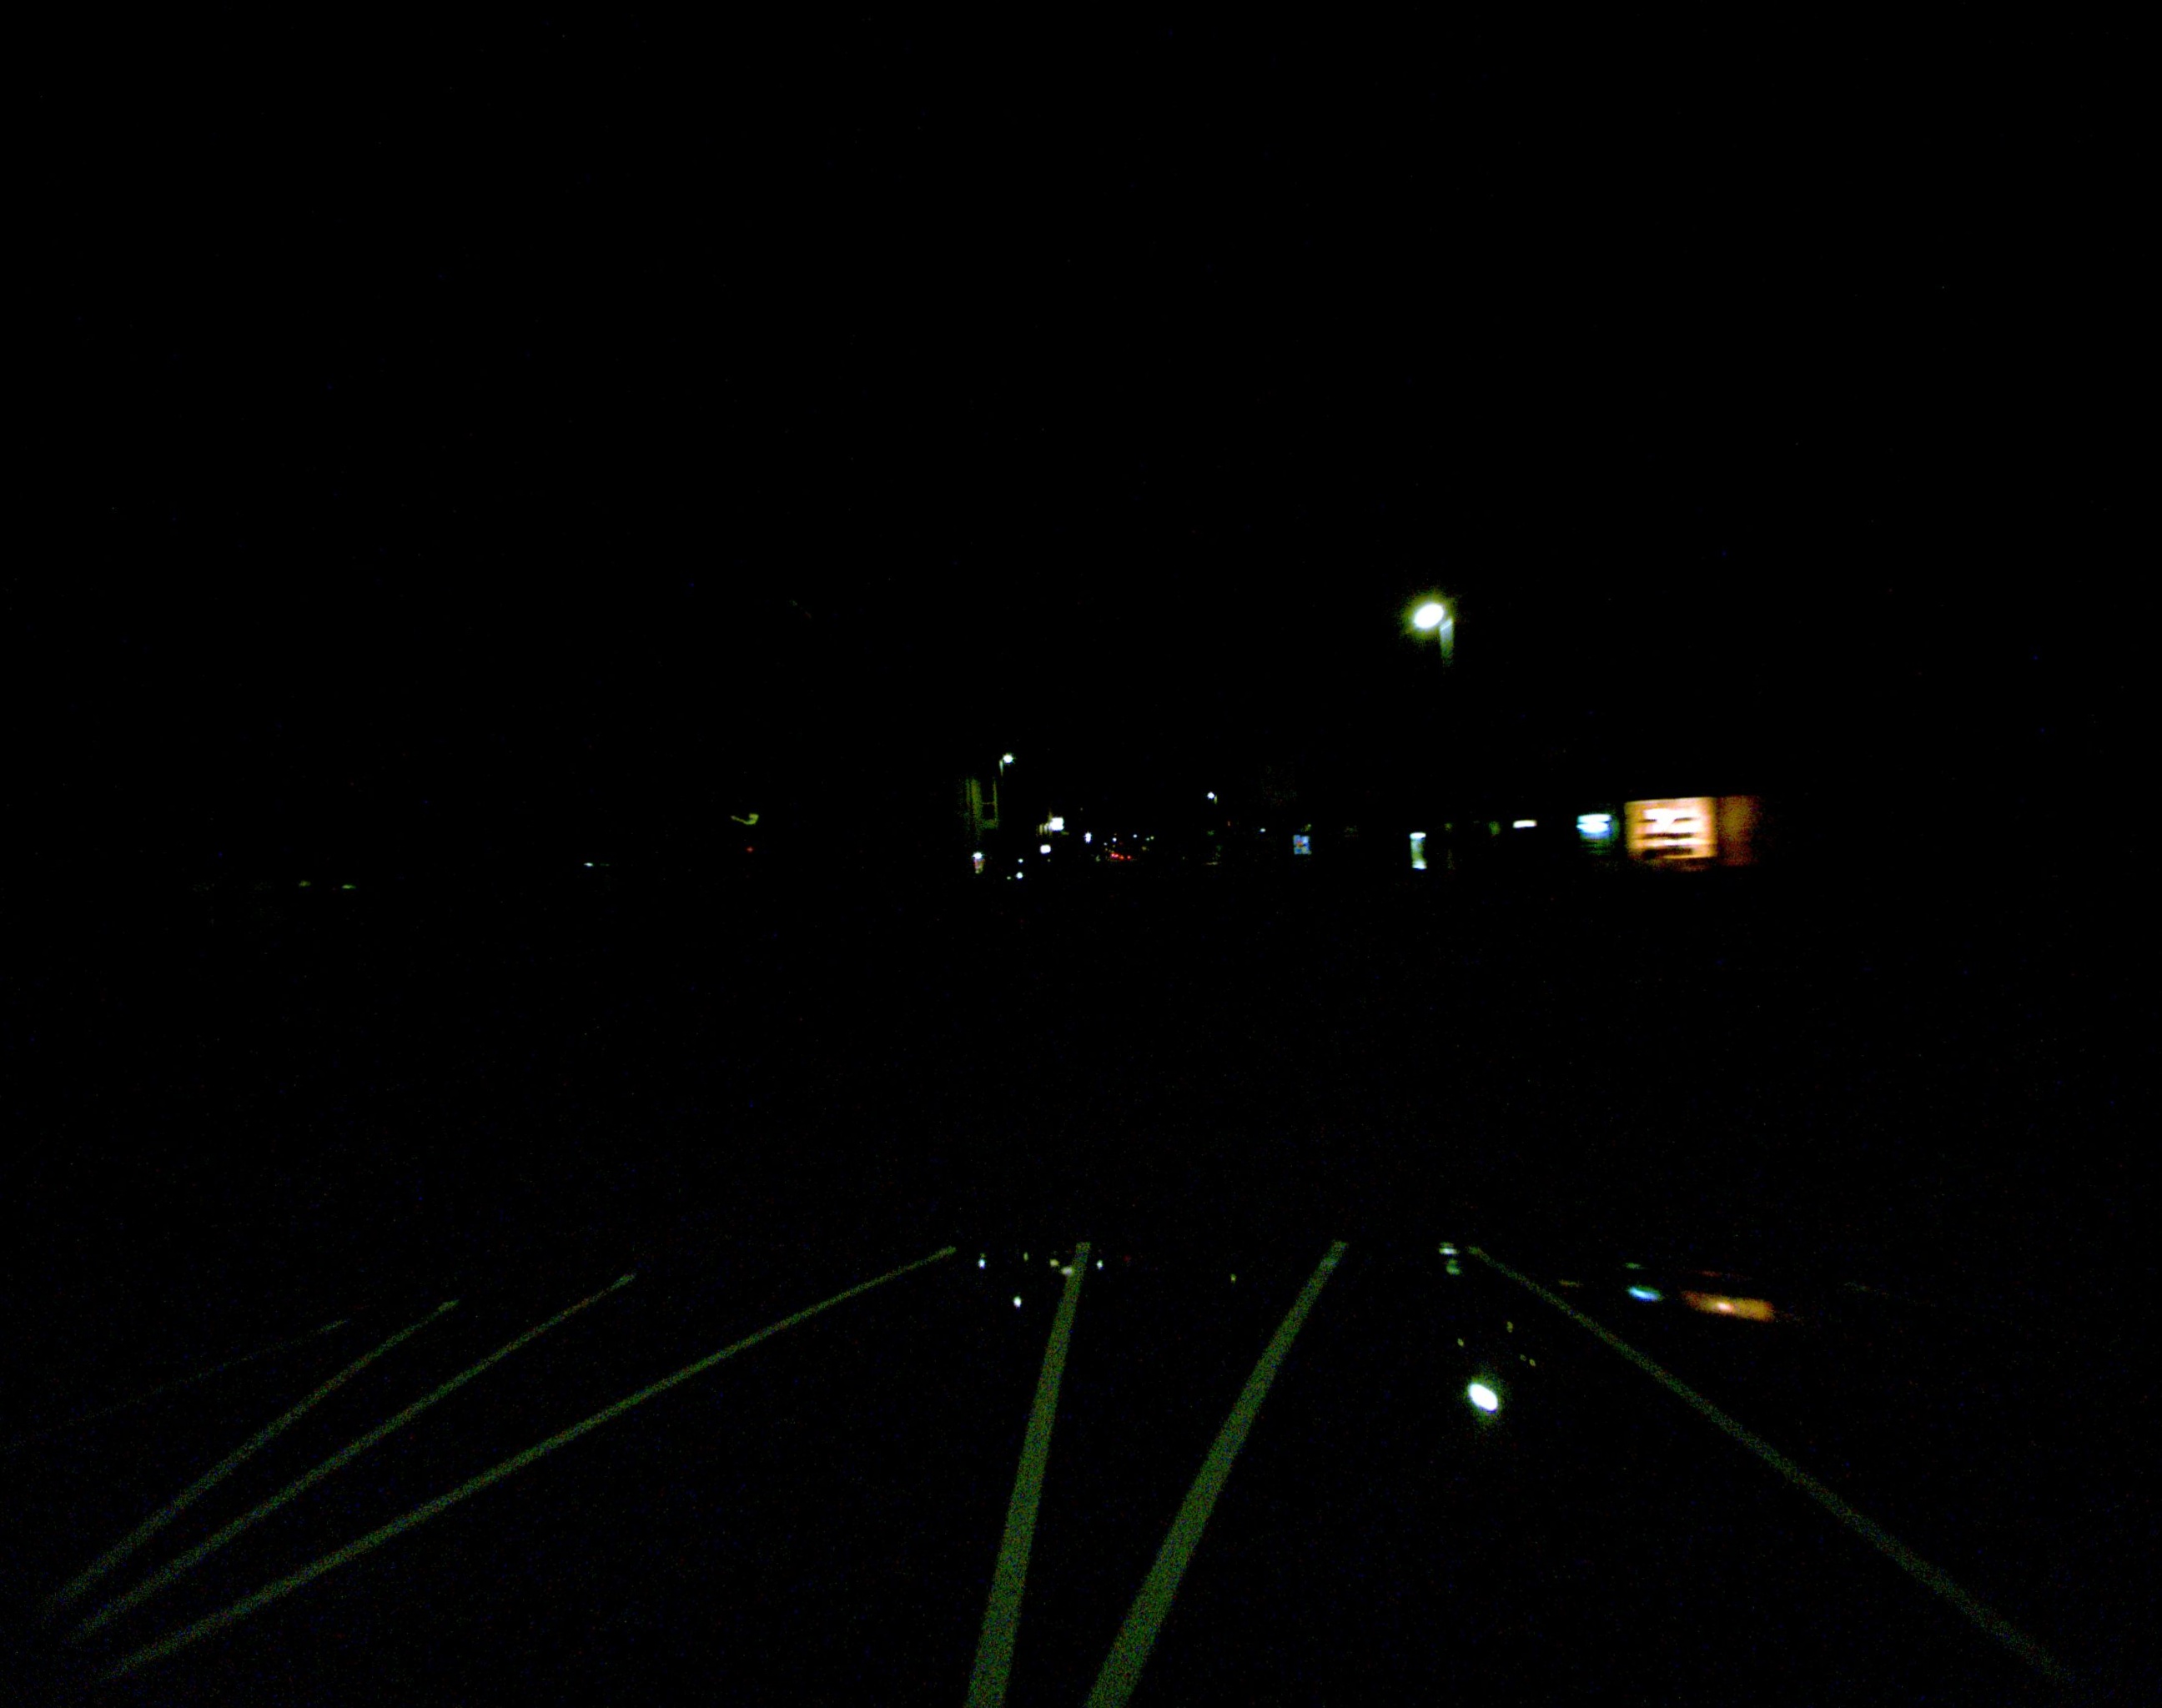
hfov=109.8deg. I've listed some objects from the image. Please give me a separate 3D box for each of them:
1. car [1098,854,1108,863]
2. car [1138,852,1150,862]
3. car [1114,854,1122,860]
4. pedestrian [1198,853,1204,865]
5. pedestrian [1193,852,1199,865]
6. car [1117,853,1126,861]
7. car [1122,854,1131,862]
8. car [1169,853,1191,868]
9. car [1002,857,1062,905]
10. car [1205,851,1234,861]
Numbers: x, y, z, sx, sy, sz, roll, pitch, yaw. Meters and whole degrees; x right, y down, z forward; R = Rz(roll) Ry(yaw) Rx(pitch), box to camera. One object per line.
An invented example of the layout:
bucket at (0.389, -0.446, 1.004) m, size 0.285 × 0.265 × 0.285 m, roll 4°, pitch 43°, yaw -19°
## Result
car at (3.706, 0.779, 129.654) m, size 1.606 × 1.474 × 3.699 m, roll -1°, pitch 0°, yaw 0°
car at (11.092, 0.483, 134.529) m, size 1.814 × 1.637 × 3.804 m, roll -4°, pitch 0°, yaw 2°
car at (9.144, 0.682, 186.815) m, size 1.821 × 1.271 × 3.917 m, roll -2°, pitch 0°, yaw 2°
pedestrian at (15.822, 0.608, 100.097) m, size 0.529 × 1.579 × 0.665 m, roll -2°, pitch 1°, yaw -6°
pedestrian at (15.174, 0.587, 100.131) m, size 0.529 × 1.579 × 0.665 m, roll -2°, pitch 1°, yaw -4°
car at (8.909, 0.701, 169.143) m, size 1.752 × 1.635 × 4.307 m, roll -1°, pitch 0°, yaw 0°
car at (8.950, 0.768, 149.905) m, size 1.720 × 1.420 × 3.816 m, roll -2°, pitch 0°, yaw 3°
car at (10.438, 0.691, 80.349) m, size 1.900 × 1.411 × 4.931 m, roll -4°, pitch 0°, yaw 3°
car at (-1.715, 0.902, 27.724) m, size 1.747 × 1.560 × 4.209 m, roll -1°, pitch 0°, yaw 2°
car at (19.077, 0.272, 104.709) m, size 3.832 × 1.408 × 1.653 m, roll -1°, pitch 0°, yaw 4°
